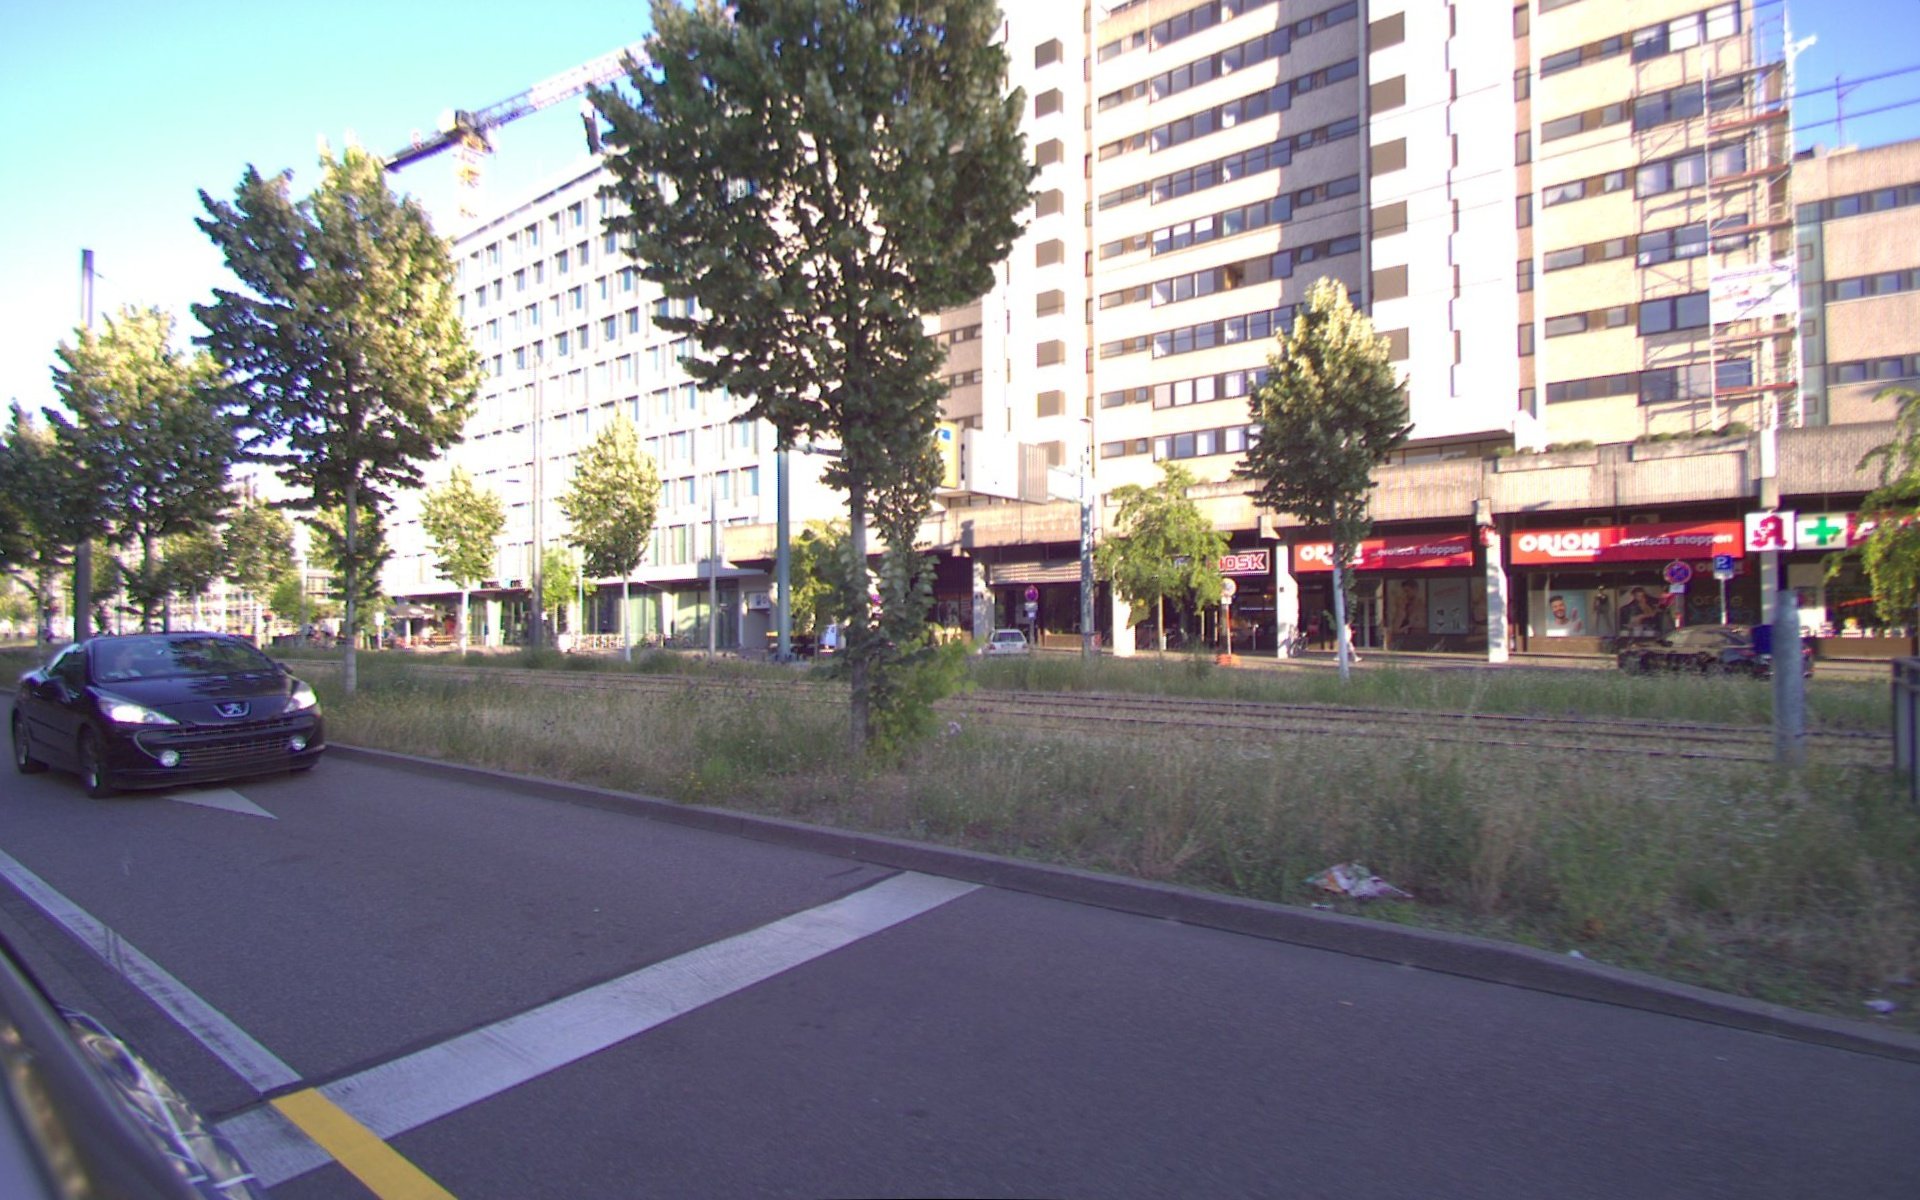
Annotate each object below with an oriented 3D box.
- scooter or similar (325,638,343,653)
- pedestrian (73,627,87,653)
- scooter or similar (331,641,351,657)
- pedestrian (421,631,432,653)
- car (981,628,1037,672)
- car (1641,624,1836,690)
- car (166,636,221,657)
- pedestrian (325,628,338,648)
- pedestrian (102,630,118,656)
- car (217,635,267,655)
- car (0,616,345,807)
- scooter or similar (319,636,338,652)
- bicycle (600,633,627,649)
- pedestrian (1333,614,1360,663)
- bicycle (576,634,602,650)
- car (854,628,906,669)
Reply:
[{"bbox_3d":[-47.544,3.456,76.876,0.337,1.172,1.170,-2,-2,39],"label":"scooter or similar"},{"bbox_3d":[-67.110,3.054,77.183,0.708,1.938,0.672,-2,-2,40],"label":"pedestrian"},{"bbox_3d":[-46.452,3.683,75.998,0.337,1.065,1.170,-4,1,39],"label":"scooter or similar"},{"bbox_3d":[-39.480,3.084,74.922,0.603,1.612,0.492,-2,0,40],"label":"pedestrian"},{"bbox_3d":[1.816,1.861,38.712,1.799,1.446,4.131,-2,0,-1],"label":"car"},{"bbox_3d":[18.660,1.312,24.486,1.719,1.461,3.731,-1,-1,-2],"label":"car"},{"bbox_3d":[-55.493,3.372,73.282,4.795,1.452,1.995,-2,-4,38],"label":"car"},{"bbox_3d":[-53.055,3.216,85.467,0.697,1.615,0.682,-2,0,-6],"label":"pedestrian"},{"bbox_3d":[-66.037,3.335,78.657,0.854,2.029,0.822,-2,-2,42],"label":"pedestrian"},{"bbox_3d":[-53.551,3.335,75.487,4.217,1.451,1.867,-2,-2,37],"label":"car"},{"bbox_3d":[-7.626,0.953,9.614,3.893,1.461,1.703,-3,-3,36],"label":"car"},{"bbox_3d":[-48.774,3.408,78.199,0.337,1.227,1.170,-2,-2,39],"label":"scooter or similar"},{"bbox_3d":[-22.544,2.664,65.908,0.420,1.028,1.772,-2,-2,34],"label":"bicycle"},{"bbox_3d":[13.522,1.353,35.399,0.661,1.674,0.657,-2,-3,40],"label":"pedestrian"},{"bbox_3d":[-24.735,2.800,67.507,0.420,1.028,1.727,-2,-2,34],"label":"bicycle"},{"bbox_3d":[-3.294,1.983,42.433,1.980,1.602,4.287,-1,-1,-2],"label":"car"}]
